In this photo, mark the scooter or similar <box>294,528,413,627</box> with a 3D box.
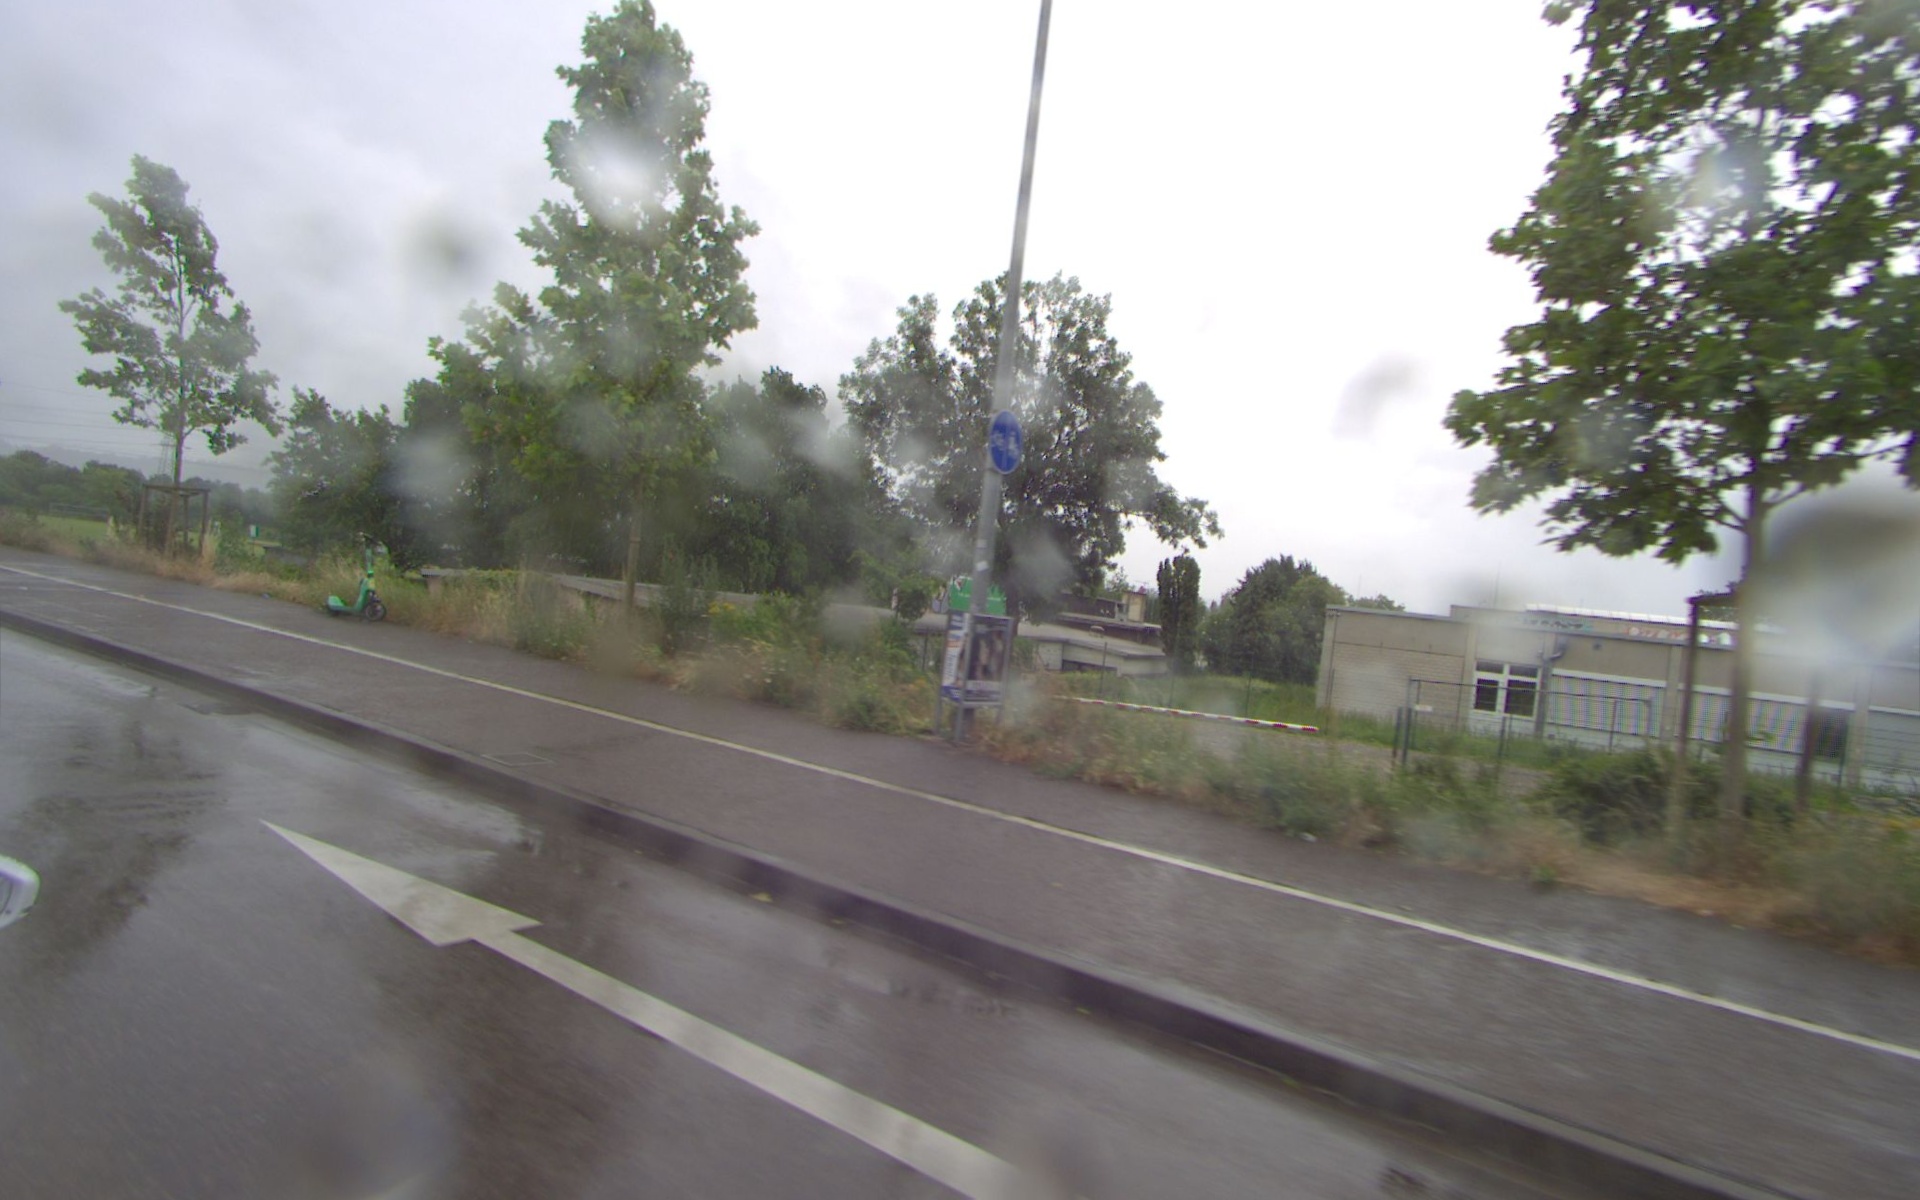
[{"bbox_3d":[-8.563,-0.320,14.198,1.535,1.210,0.644,7,1,27],"label":"scooter or similar"}]
